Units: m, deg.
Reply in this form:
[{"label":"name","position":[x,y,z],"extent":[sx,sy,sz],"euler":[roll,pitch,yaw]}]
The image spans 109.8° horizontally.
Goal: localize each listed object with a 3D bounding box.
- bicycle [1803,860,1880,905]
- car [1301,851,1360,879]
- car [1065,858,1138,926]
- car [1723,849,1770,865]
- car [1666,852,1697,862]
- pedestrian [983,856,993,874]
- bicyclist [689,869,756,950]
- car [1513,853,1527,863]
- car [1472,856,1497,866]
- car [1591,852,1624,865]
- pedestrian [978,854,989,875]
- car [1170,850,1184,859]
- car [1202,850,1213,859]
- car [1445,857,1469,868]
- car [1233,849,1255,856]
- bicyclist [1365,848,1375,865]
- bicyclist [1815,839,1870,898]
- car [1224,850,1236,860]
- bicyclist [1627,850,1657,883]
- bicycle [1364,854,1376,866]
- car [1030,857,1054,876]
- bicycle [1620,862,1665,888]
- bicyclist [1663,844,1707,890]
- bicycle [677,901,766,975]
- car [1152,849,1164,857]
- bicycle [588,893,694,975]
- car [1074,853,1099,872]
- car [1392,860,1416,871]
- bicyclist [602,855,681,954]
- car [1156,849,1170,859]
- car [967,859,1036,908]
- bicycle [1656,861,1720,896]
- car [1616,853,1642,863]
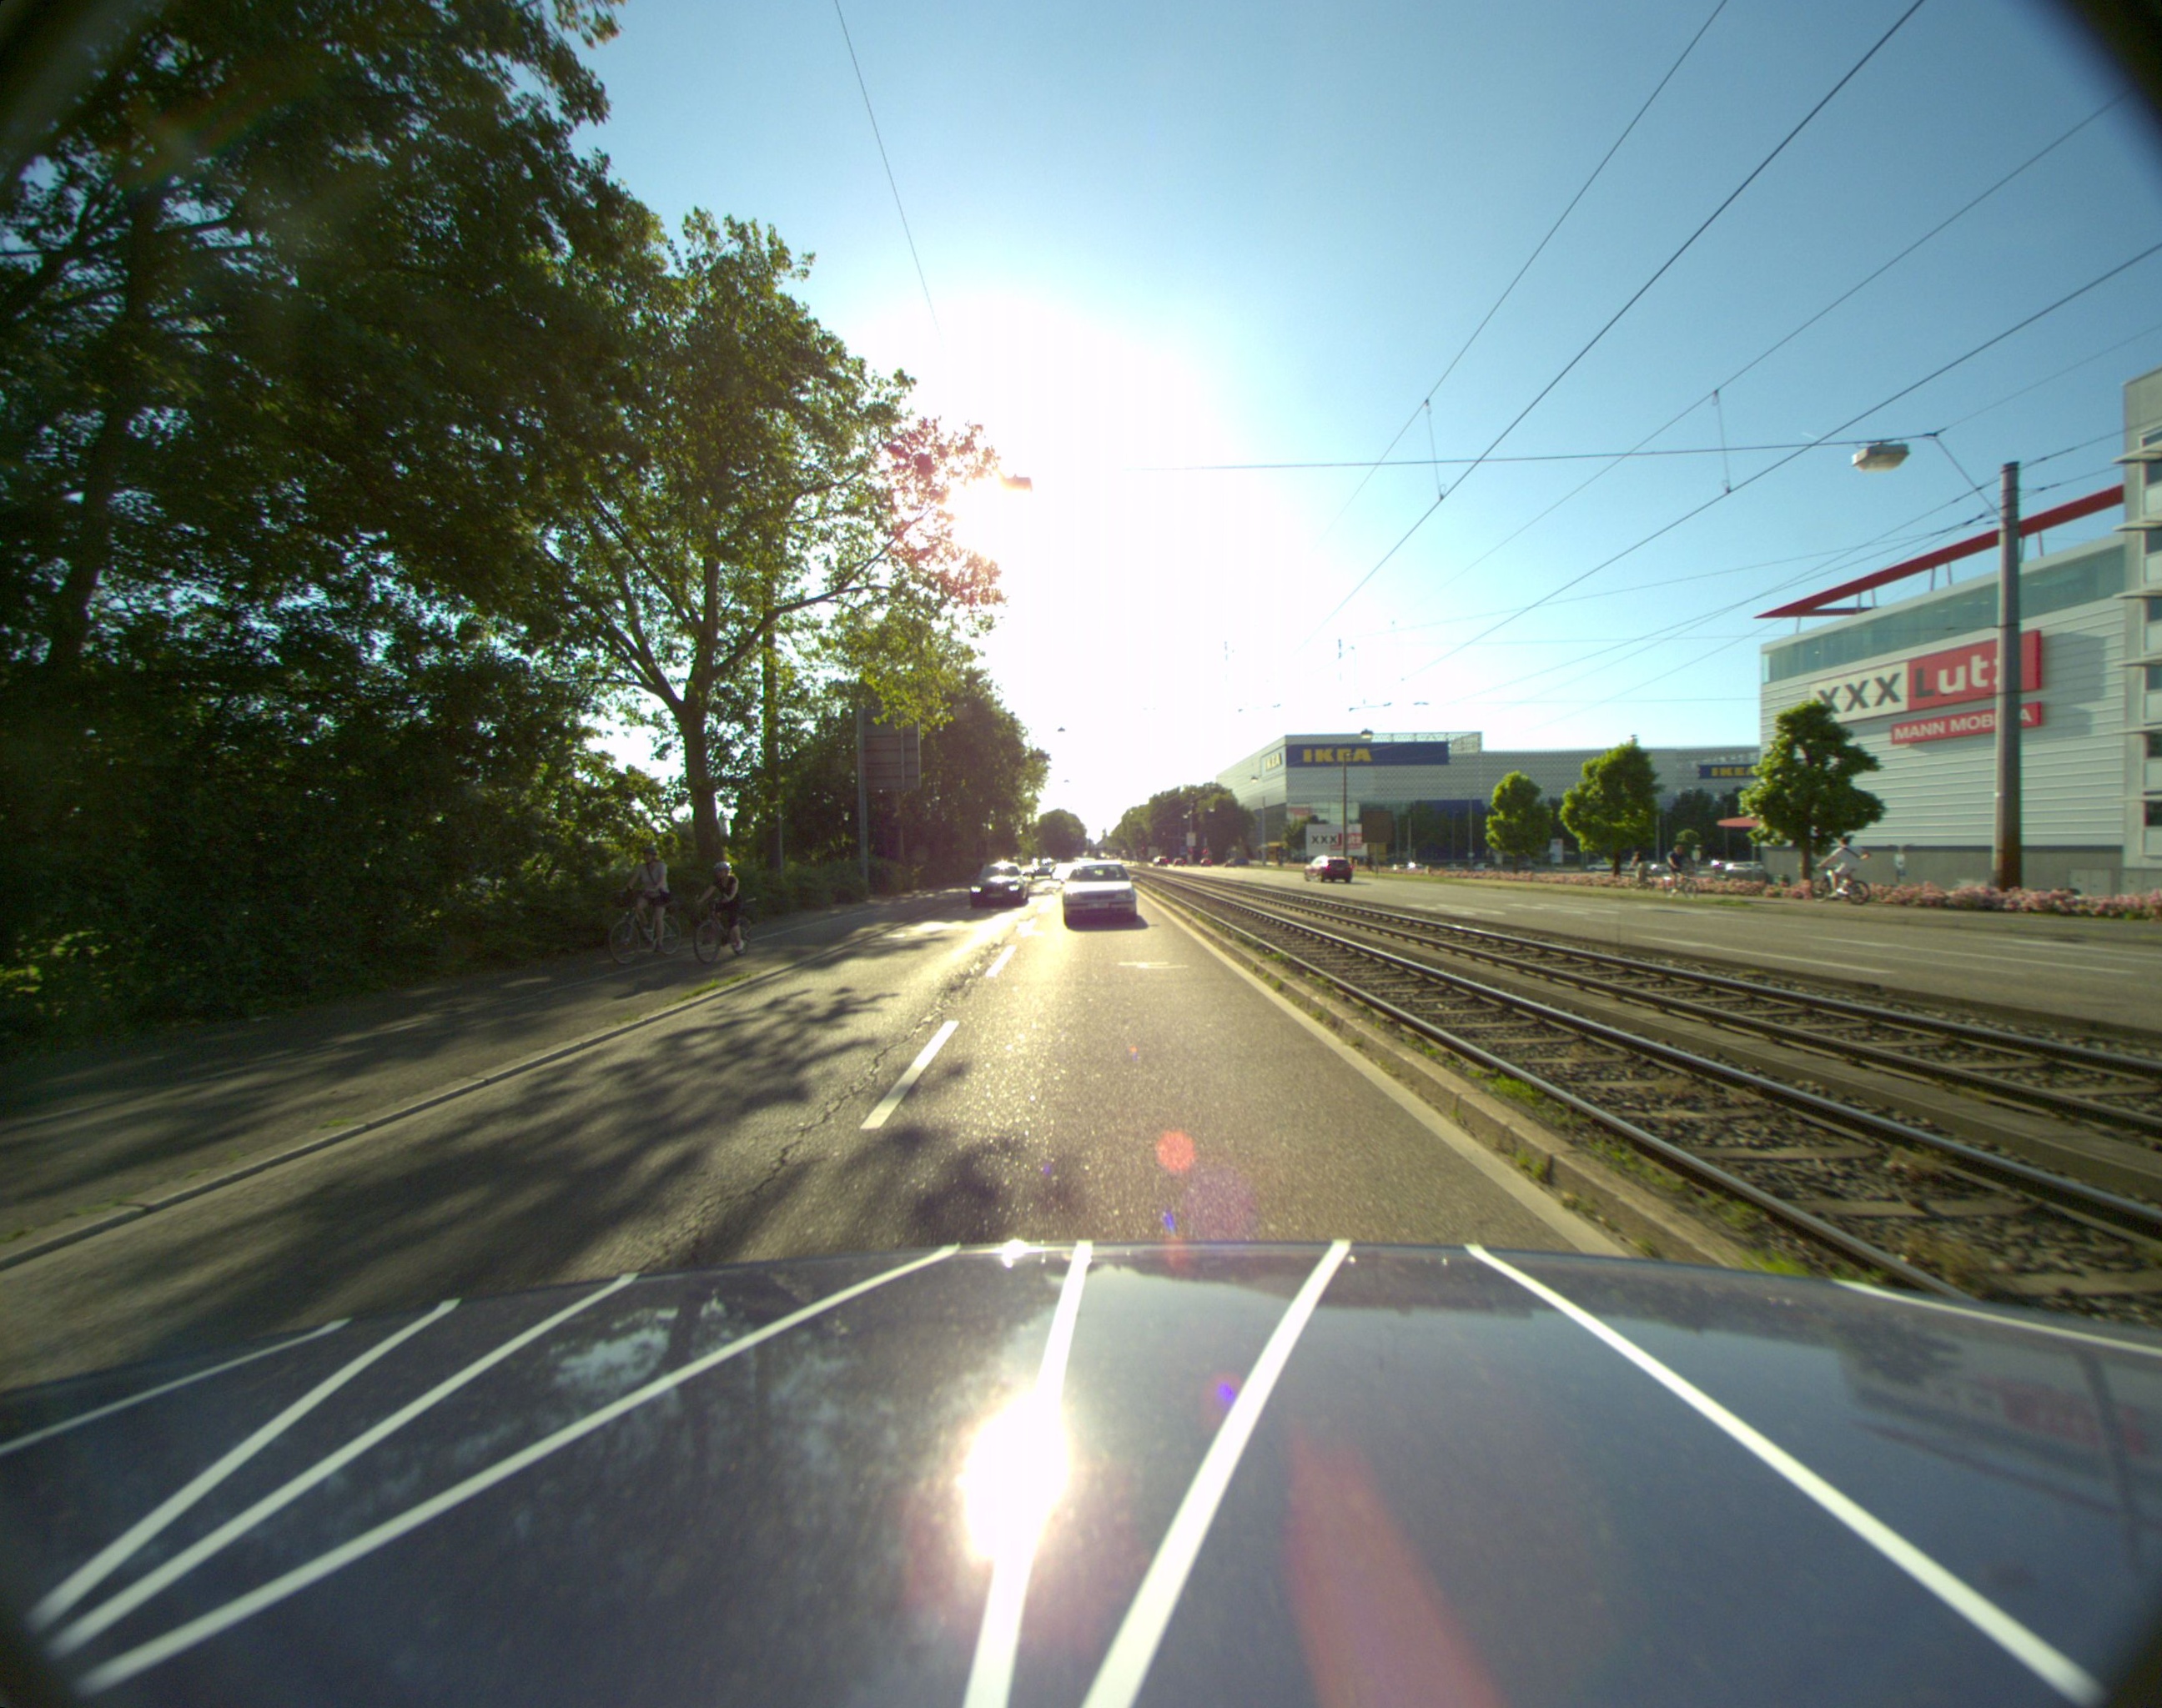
[{"label":"bicycle","position":[22.178,0.805,22.204],"extent":[0.604,1.212,1.749],"euler":[-3,0,7]},{"label":"car","position":[15.287,0.632,46.787],"extent":[2.044,1.494,4.887],"euler":[-1,1,1]},{"label":"car","position":[0.477,0.851,18.784],"extent":[1.602,1.440,3.799],"euler":[-2,0,1]},{"label":"car","position":[77.415,0.373,88.457],"extent":[1.926,1.692,4.000],"euler":[-3,0,0]},{"label":"car","position":[101.633,0.469,128.657],"extent":[1.998,1.645,4.000],"euler":[-1,0,1]},{"label":"pedestrian","position":[-7.819,0.924,64.075],"extent":[0.725,1.472,0.722],"euler":[0,1,0]},{"label":"bicyclist","position":[-5.691,0.859,12.106],"extent":[0.642,1.219,0.890],"euler":[0,0,0]},{"label":"car","position":[85.604,0.772,148.324],"extent":[1.904,1.559,4.254],"euler":[-3,0,25]},{"label":"car","position":[69.474,1.213,130.967],"extent":[1.935,1.583,3.999],"euler":[-3,0,-3]},{"label":"car","position":[85.341,0.763,123.193],"extent":[4.218,1.789,1.830],"euler":[-3,0,34]},{"label":"pedestrian","position":[-7.971,0.814,62.092],"extent":[0.724,1.698,0.813],"euler":[0,1,0]},{"label":"car","position":[16.970,0.112,133.942],"extent":[1.861,1.452,4.137],"euler":[-1,0,-1]},{"label":"car","position":[21.968,0.079,132.003],"extent":[1.938,1.468,4.134],"euler":[1,1,9]},{"label":"car","position":[64.551,1.444,130.501],"extent":[1.935,1.734,3.999],"euler":[-3,0,-3]},{"label":"car","position":[34.635,-0.339,161.648],"extent":[4.252,1.489,2.016],"euler":[1,1,5]},{"label":"bicyclist","position":[28.640,0.266,75.308],"extent":[0.662,1.614,0.801],"euler":[-3,1,10]},{"label":"bicyclist","position":[22.144,0.402,22.120],"extent":[0.604,1.649,0.963],"euler":[-3,1,7]},{"label":"car","position":[25.703,0.221,131.151],"extent":[1.823,1.633,4.005],"euler":[0,0,15]},{"label":"bicyclist","position":[23.348,0.514,31.626],"extent":[0.626,1.366,0.880],"euler":[-1,0,0]},{"label":"bicycle","position":[28.657,0.604,75.293],"extent":[0.662,1.144,2.023],"euler":[-3,0,10]},{"label":"car","position":[-3.223,1.010,63.321],"extent":[1.857,1.415,3.979],"euler":[-2,0,-2]},{"label":"bicycle","position":[23.349,0.855,31.625],"extent":[0.626,1.052,1.703],"euler":[-1,0,0]},{"label":"bicyclist","position":[20.523,0.423,25.819],"extent":[0.706,1.503,0.971],"euler":[-3,0,7]},{"label":"bicycle","position":[-5.690,1.302,12.144],"extent":[0.566,0.968,1.788],"euler":[1,0,0]},{"label":"car","position":[13.585,-0.171,134.226],"extent":[1.788,1.439,4.108],"euler":[0,0,1]},{"label":"bicycle","position":[-6.965,1.231,12.147],"extent":[0.623,1.113,1.813],"euler":[-1,0,0]},{"label":"car","position":[0.455,0.691,63.037],"extent":[1.871,1.422,3.831],"euler":[-3,0,2]},{"label":"car","position":[55.664,1.919,131.066],"extent":[1.999,1.700,4.415],"euler":[-3,0,-4]},{"label":"bicyclist","position":[-6.967,0.776,12.085],"extent":[0.687,1.500,0.890],"euler":[-1,0,0]},{"label":"car","position":[13.743,-0.021,127.310],"extent":[1.998,1.646,4.658],"euler":[0,0,1]},{"label":"car","position":[-2.769,0.981,27.400],"extent":[1.870,1.459,4.586],"euler":[-2,1,1]},{"label":"bicycle","position":[20.542,0.809,25.776],"extent":[0.706,1.067,2.028],"euler":[-3,0,7]},{"label":"car","position":[93.596,0.705,129.812],"extent":[1.727,1.645,4.000],"euler":[-1,0,1]}]
